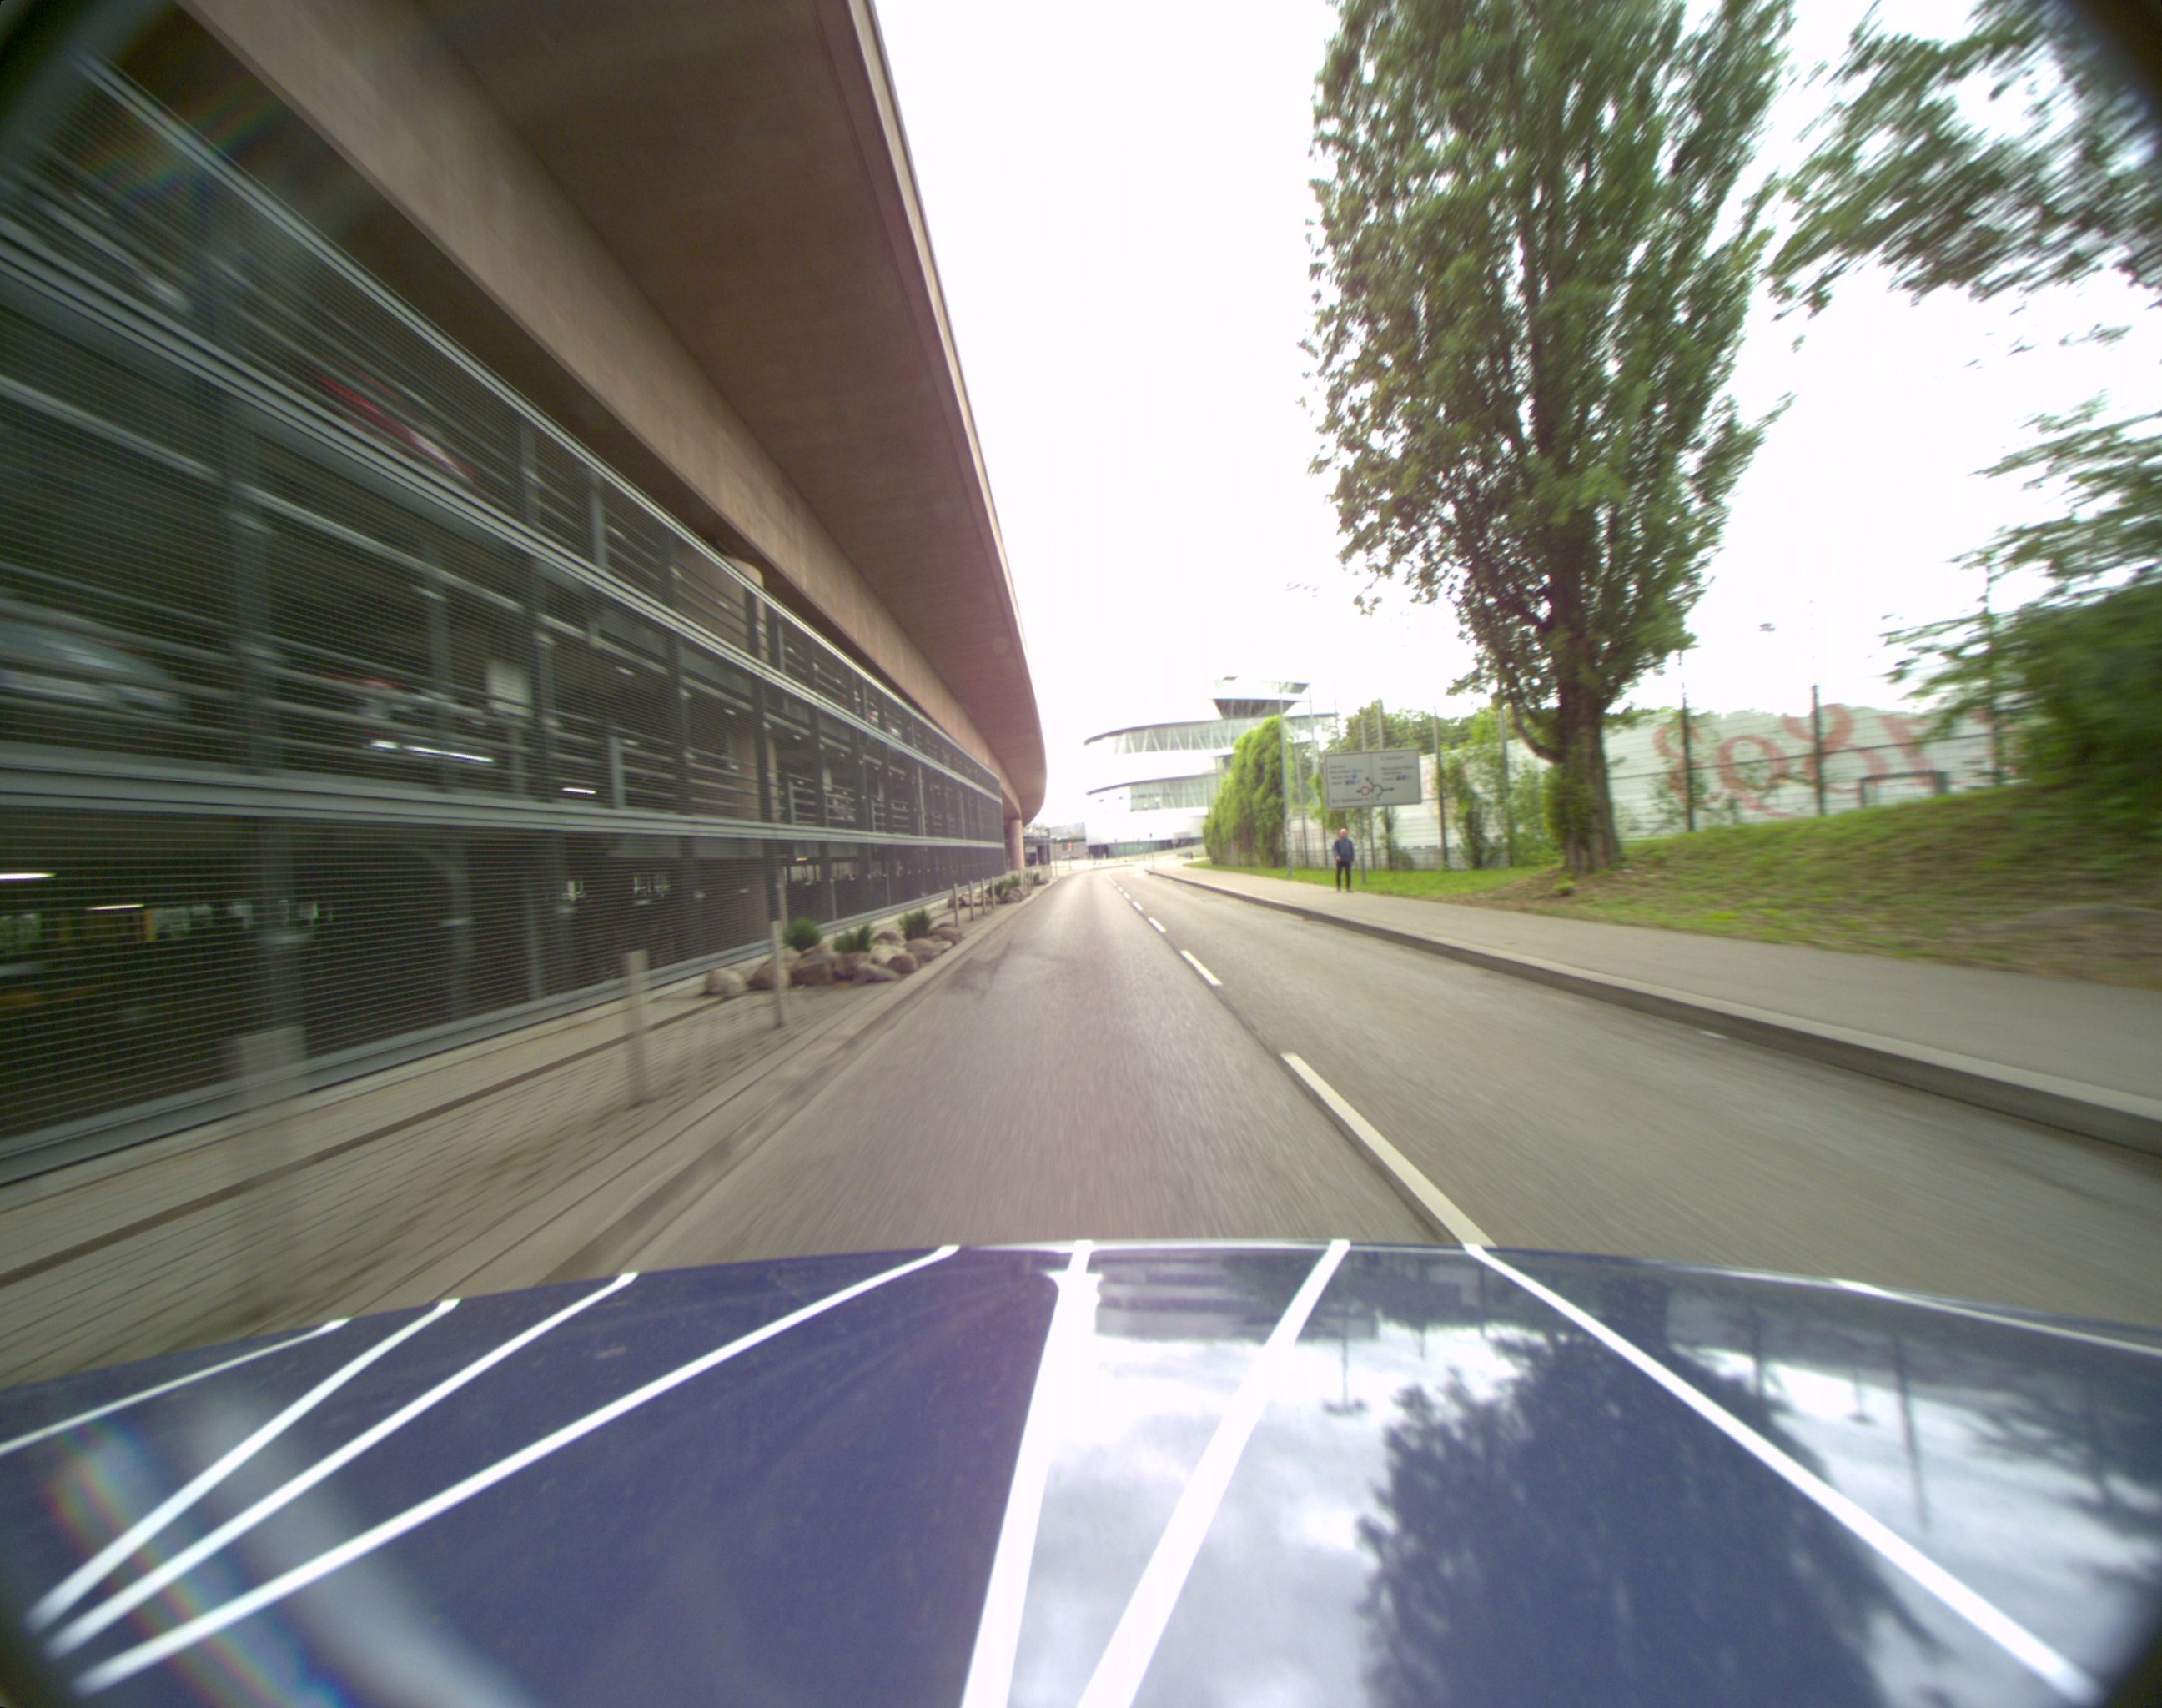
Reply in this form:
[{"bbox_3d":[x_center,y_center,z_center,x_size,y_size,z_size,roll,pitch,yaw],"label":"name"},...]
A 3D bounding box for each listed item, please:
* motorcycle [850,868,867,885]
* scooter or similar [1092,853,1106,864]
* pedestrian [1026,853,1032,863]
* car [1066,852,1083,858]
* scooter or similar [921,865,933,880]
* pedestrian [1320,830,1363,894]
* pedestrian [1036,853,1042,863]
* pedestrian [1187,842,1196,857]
[{"bbox_3d":[-17.808,1.788,60.790,0.673,1.213,2.079,-3,0,1],"label":"motorcycle"},{"bbox_3d":[2.424,0.617,103.231,1.649,1.288,0.518,-5,0,-8],"label":"scooter or similar"},{"bbox_3d":[-9.731,0.757,141.629,0.783,1.788,0.864,-3,0,-18],"label":"pedestrian"},{"bbox_3d":[-1.938,0.342,225.836,4.907,1.390,1.534,-3,0,-9],"label":"car"},{"bbox_3d":[-12.116,1.428,59.892,0.399,1.127,1.252,-3,0,12],"label":"scooter or similar"},{"bbox_3d":[7.441,0.231,21.762,0.806,1.770,0.920,-3,0,-1],"label":"pedestrian"},{"bbox_3d":[-7.831,0.717,141.775,0.773,1.695,0.786,-3,0,-18],"label":"pedestrian"},{"bbox_3d":[14.328,-0.583,98.480,1.038,2.002,0.785,-3,0,7],"label":"pedestrian"}]
